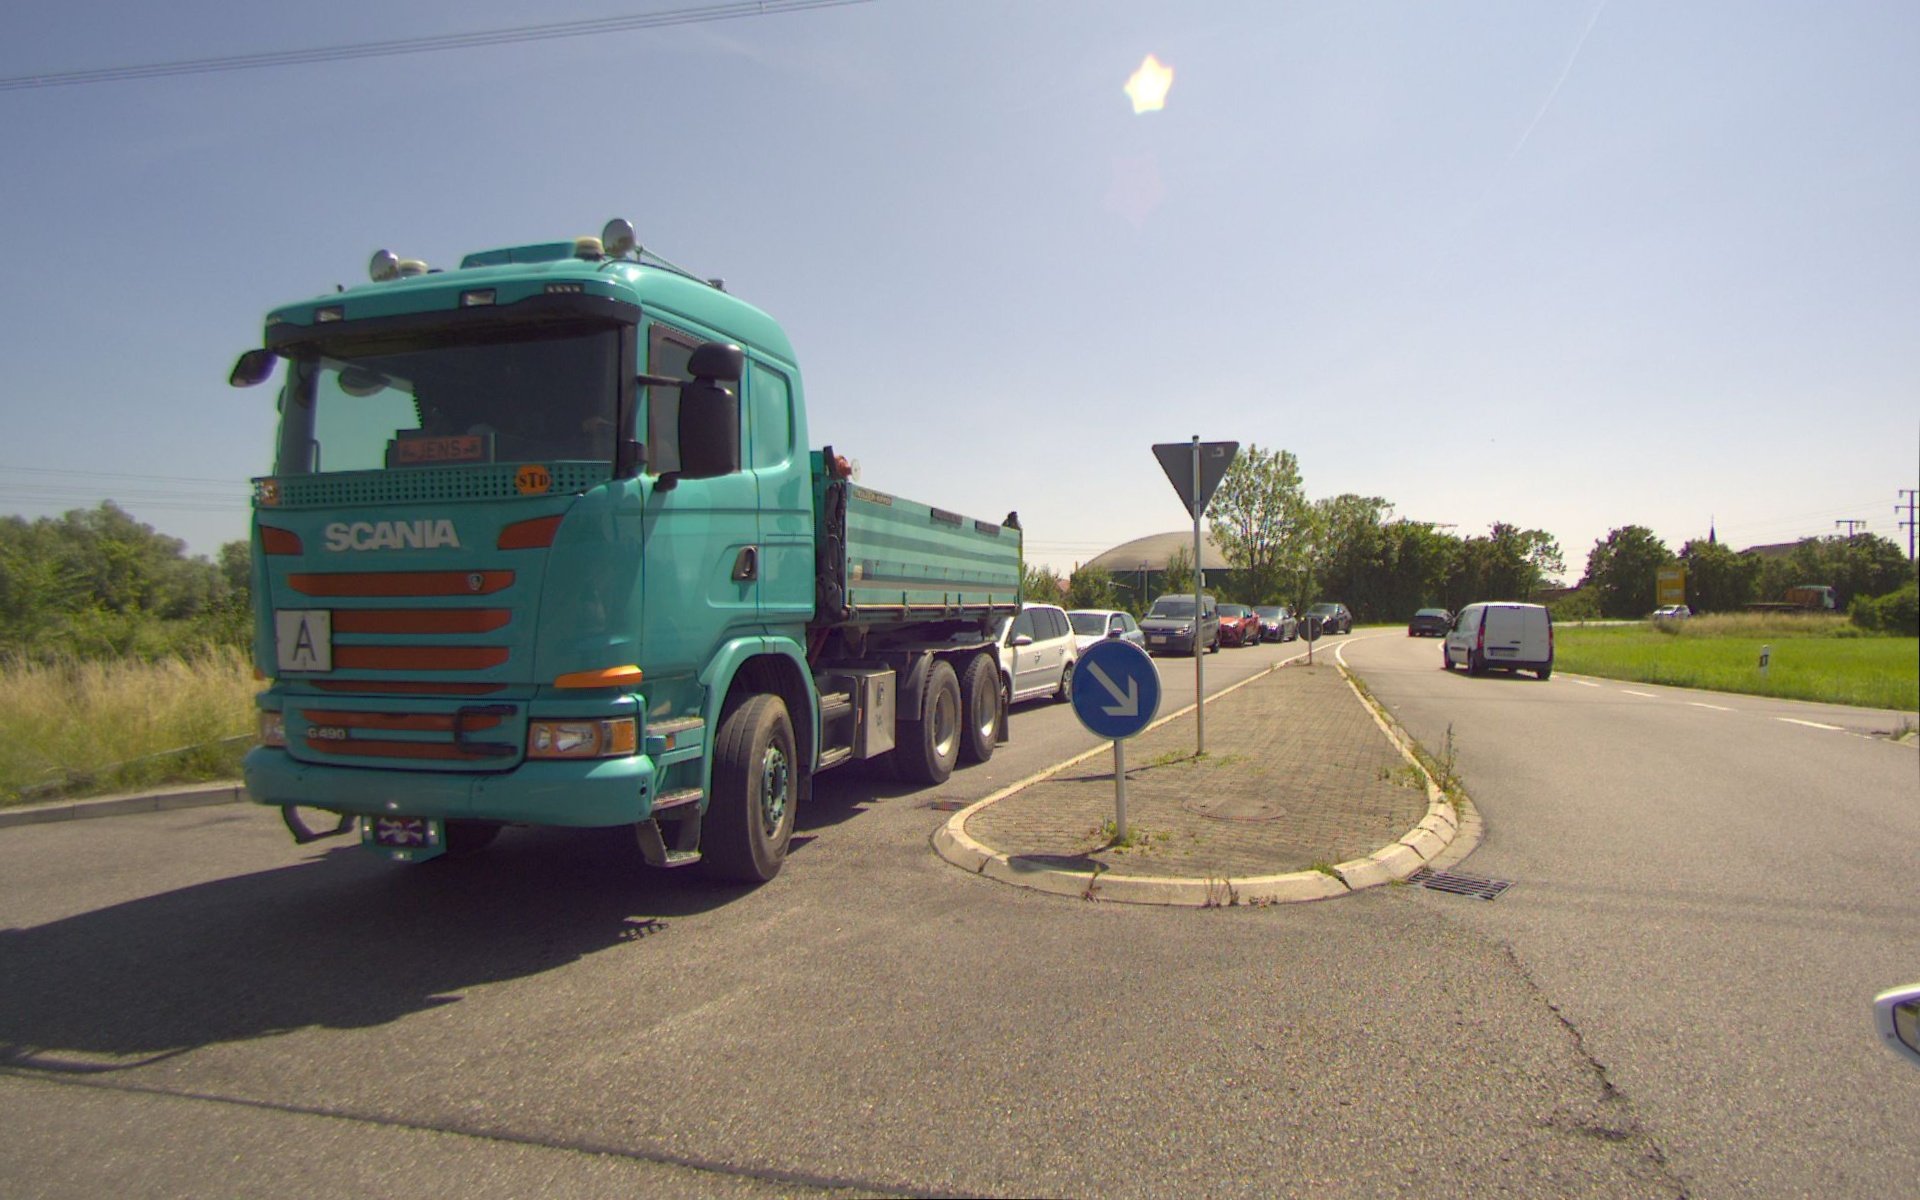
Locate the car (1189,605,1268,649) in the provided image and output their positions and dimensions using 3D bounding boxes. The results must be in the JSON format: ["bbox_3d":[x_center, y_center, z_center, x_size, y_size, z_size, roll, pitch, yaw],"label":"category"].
[{"bbox_3d":[10.048,0.995,37.409,1.772,1.535,4.383,0,-1,30],"label":"car"}]

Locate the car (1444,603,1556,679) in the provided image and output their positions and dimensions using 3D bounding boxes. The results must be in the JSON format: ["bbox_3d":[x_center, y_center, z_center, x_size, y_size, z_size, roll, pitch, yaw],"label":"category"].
[{"bbox_3d":[13.479,0.982,25.314,1.872,1.755,3.823,0,-1,19],"label":"car"}]

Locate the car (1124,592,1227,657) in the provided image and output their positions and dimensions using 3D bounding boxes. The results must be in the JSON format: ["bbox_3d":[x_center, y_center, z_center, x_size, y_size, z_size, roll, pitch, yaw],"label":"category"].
[{"bbox_3d":[6.759,0.757,31.169,1.898,1.856,4.430,0,-1,30],"label":"car"}]

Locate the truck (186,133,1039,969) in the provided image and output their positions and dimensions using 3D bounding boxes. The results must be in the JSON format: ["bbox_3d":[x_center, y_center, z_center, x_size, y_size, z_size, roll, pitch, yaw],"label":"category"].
[{"bbox_3d":[-1.481,-0.179,8.248,2.558,3.518,7.611,0,0,18],"label":"truck"}]

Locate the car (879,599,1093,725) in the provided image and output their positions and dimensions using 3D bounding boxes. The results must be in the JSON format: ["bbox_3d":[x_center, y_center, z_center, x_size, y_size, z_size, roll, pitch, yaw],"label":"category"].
[{"bbox_3d":[0.571,0.826,15.748,1.744,1.642,4.326,2,1,25],"label":"car"}]

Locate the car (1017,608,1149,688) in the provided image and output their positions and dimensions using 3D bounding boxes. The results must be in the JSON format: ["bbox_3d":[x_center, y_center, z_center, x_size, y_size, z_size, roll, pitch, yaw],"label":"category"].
[{"bbox_3d":[2.686,0.925,21.179,1.606,1.479,4.004,0,0,25],"label":"car"}]

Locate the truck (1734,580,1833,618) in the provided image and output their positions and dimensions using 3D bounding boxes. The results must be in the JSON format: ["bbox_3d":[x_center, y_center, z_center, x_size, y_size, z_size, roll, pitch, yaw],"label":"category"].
[{"bbox_3d":[75.570,-0.105,92.167,8.670,3.179,3.094,2,0,-20],"label":"truck"}]

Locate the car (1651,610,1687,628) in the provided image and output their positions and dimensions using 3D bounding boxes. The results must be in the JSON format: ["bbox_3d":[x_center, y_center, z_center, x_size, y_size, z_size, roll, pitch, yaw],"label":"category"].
[{"bbox_3d":[64.510,1.757,91.372,3.573,1.462,1.525,2,1,-36],"label":"car"}]

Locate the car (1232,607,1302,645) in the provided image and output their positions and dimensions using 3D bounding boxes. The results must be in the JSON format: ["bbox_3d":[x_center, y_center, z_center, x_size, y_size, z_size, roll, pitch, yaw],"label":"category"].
[{"bbox_3d":[13.132,1.091,42.721,1.814,1.479,4.800,1,-1,30],"label":"car"}]

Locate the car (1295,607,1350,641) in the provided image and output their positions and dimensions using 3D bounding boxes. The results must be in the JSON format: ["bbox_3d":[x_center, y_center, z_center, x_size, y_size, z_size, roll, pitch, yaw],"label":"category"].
[{"bbox_3d":[19.198,1.233,53.062,1.679,1.660,4.235,2,1,35],"label":"car"}]

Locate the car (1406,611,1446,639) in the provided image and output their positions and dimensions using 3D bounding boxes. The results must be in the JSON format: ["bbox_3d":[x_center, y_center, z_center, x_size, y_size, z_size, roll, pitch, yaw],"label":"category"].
[{"bbox_3d":[24.921,1.317,53.685,1.693,1.439,3.739,0,-1,28],"label":"car"}]

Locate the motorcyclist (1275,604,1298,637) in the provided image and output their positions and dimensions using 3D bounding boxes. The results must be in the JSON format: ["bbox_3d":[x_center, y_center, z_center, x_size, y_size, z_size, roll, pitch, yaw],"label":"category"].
[{"bbox_3d":[15.397,0.976,47.348,0.769,1.515,1.128,1,0,30],"label":"motorcyclist"}]
